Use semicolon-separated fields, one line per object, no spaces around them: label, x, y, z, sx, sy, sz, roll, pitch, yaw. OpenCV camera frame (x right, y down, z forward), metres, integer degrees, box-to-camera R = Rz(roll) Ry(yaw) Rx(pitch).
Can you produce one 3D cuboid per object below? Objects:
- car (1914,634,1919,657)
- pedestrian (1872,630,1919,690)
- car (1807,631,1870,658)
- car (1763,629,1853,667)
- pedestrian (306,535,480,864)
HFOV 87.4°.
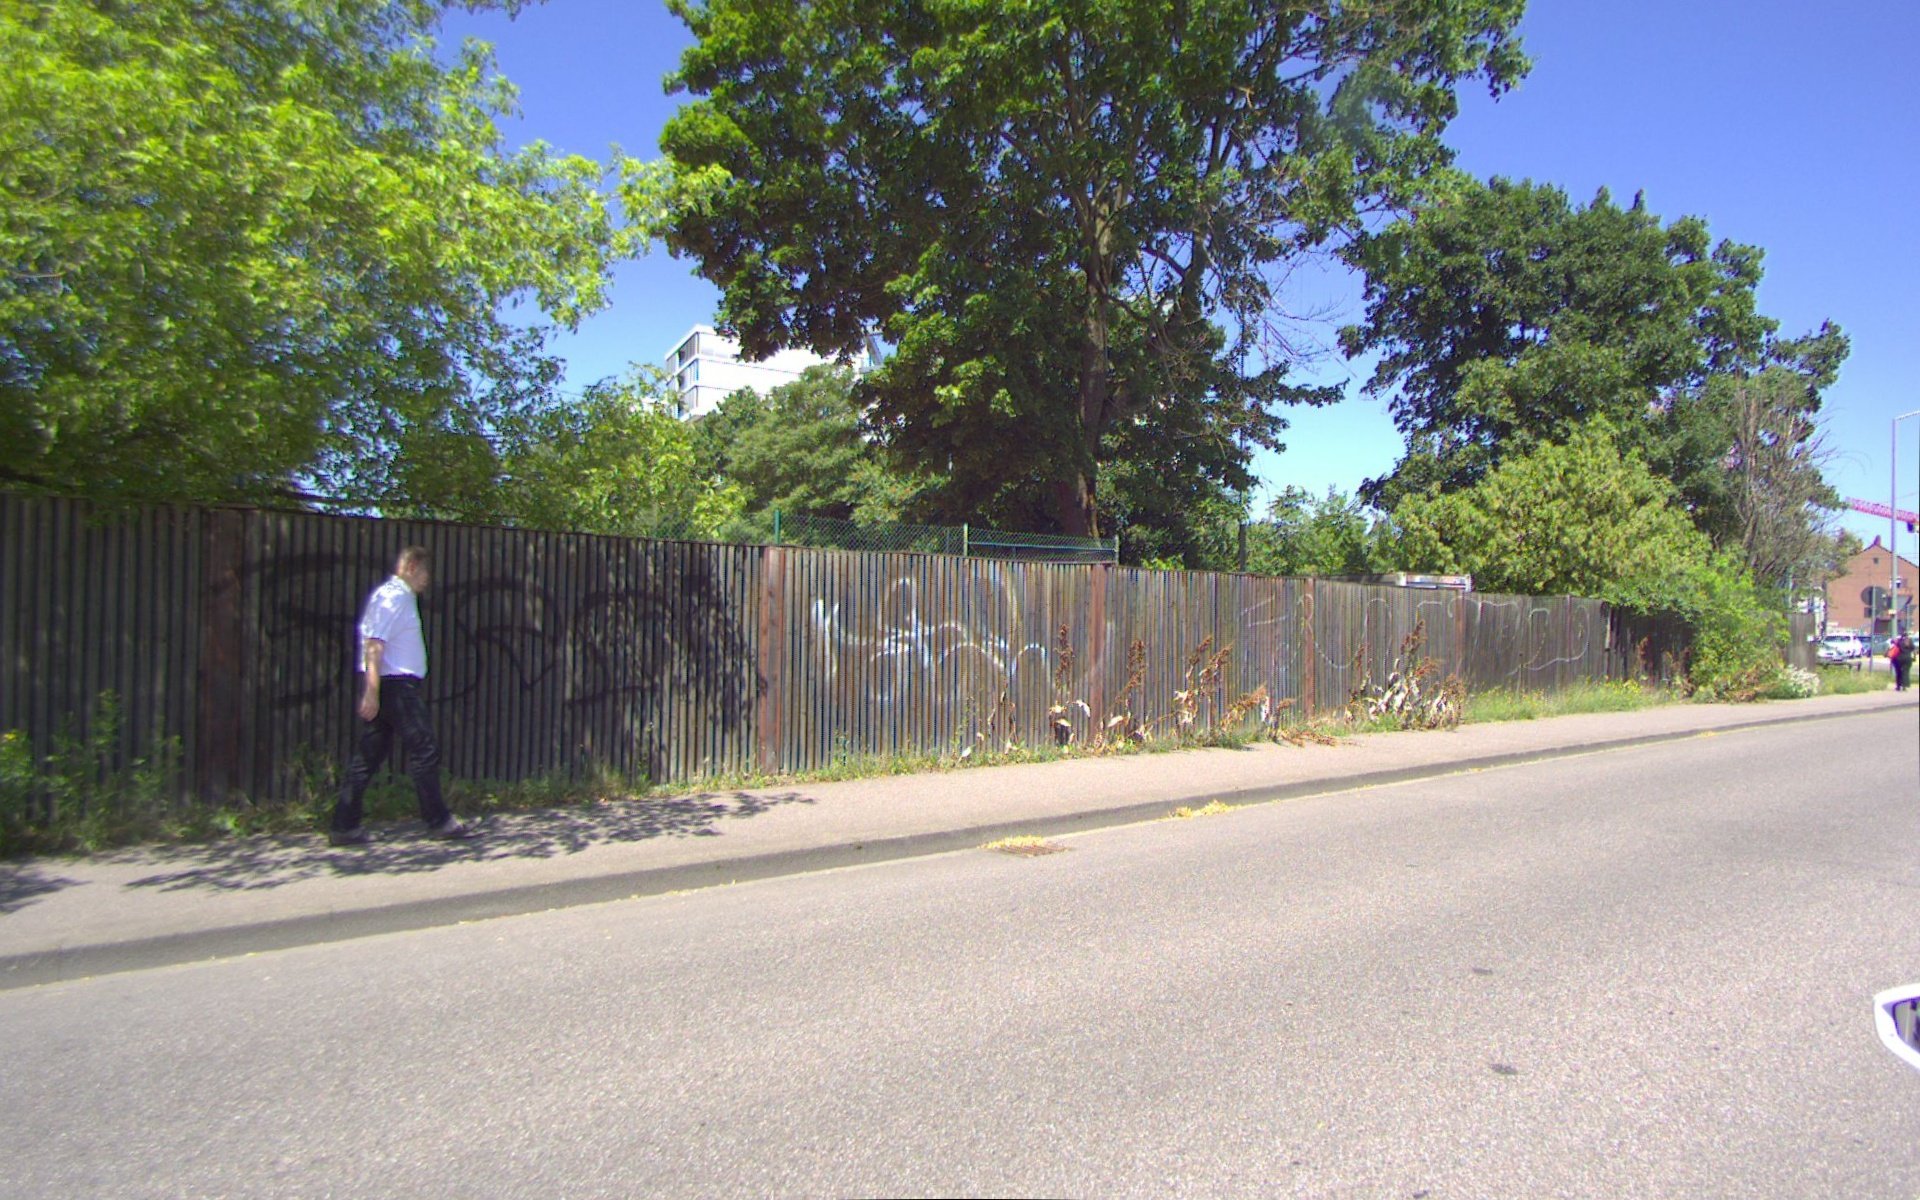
car;68.176;3.200;69.724;3.953;1.570;1.748;2;0;-30
pedestrian;25.841;1.646;27.712;0.868;1.584;0.803;2;0;-34
car;54.684;2.746;62.530;3.953;1.570;1.748;2;0;-30
car;44.049;2.473;52.288;1.600;1.874;3.679;1;-2;0
pedestrian;-3.436;0.570;6.121;0.841;1.849;0.589;2;0;-30
